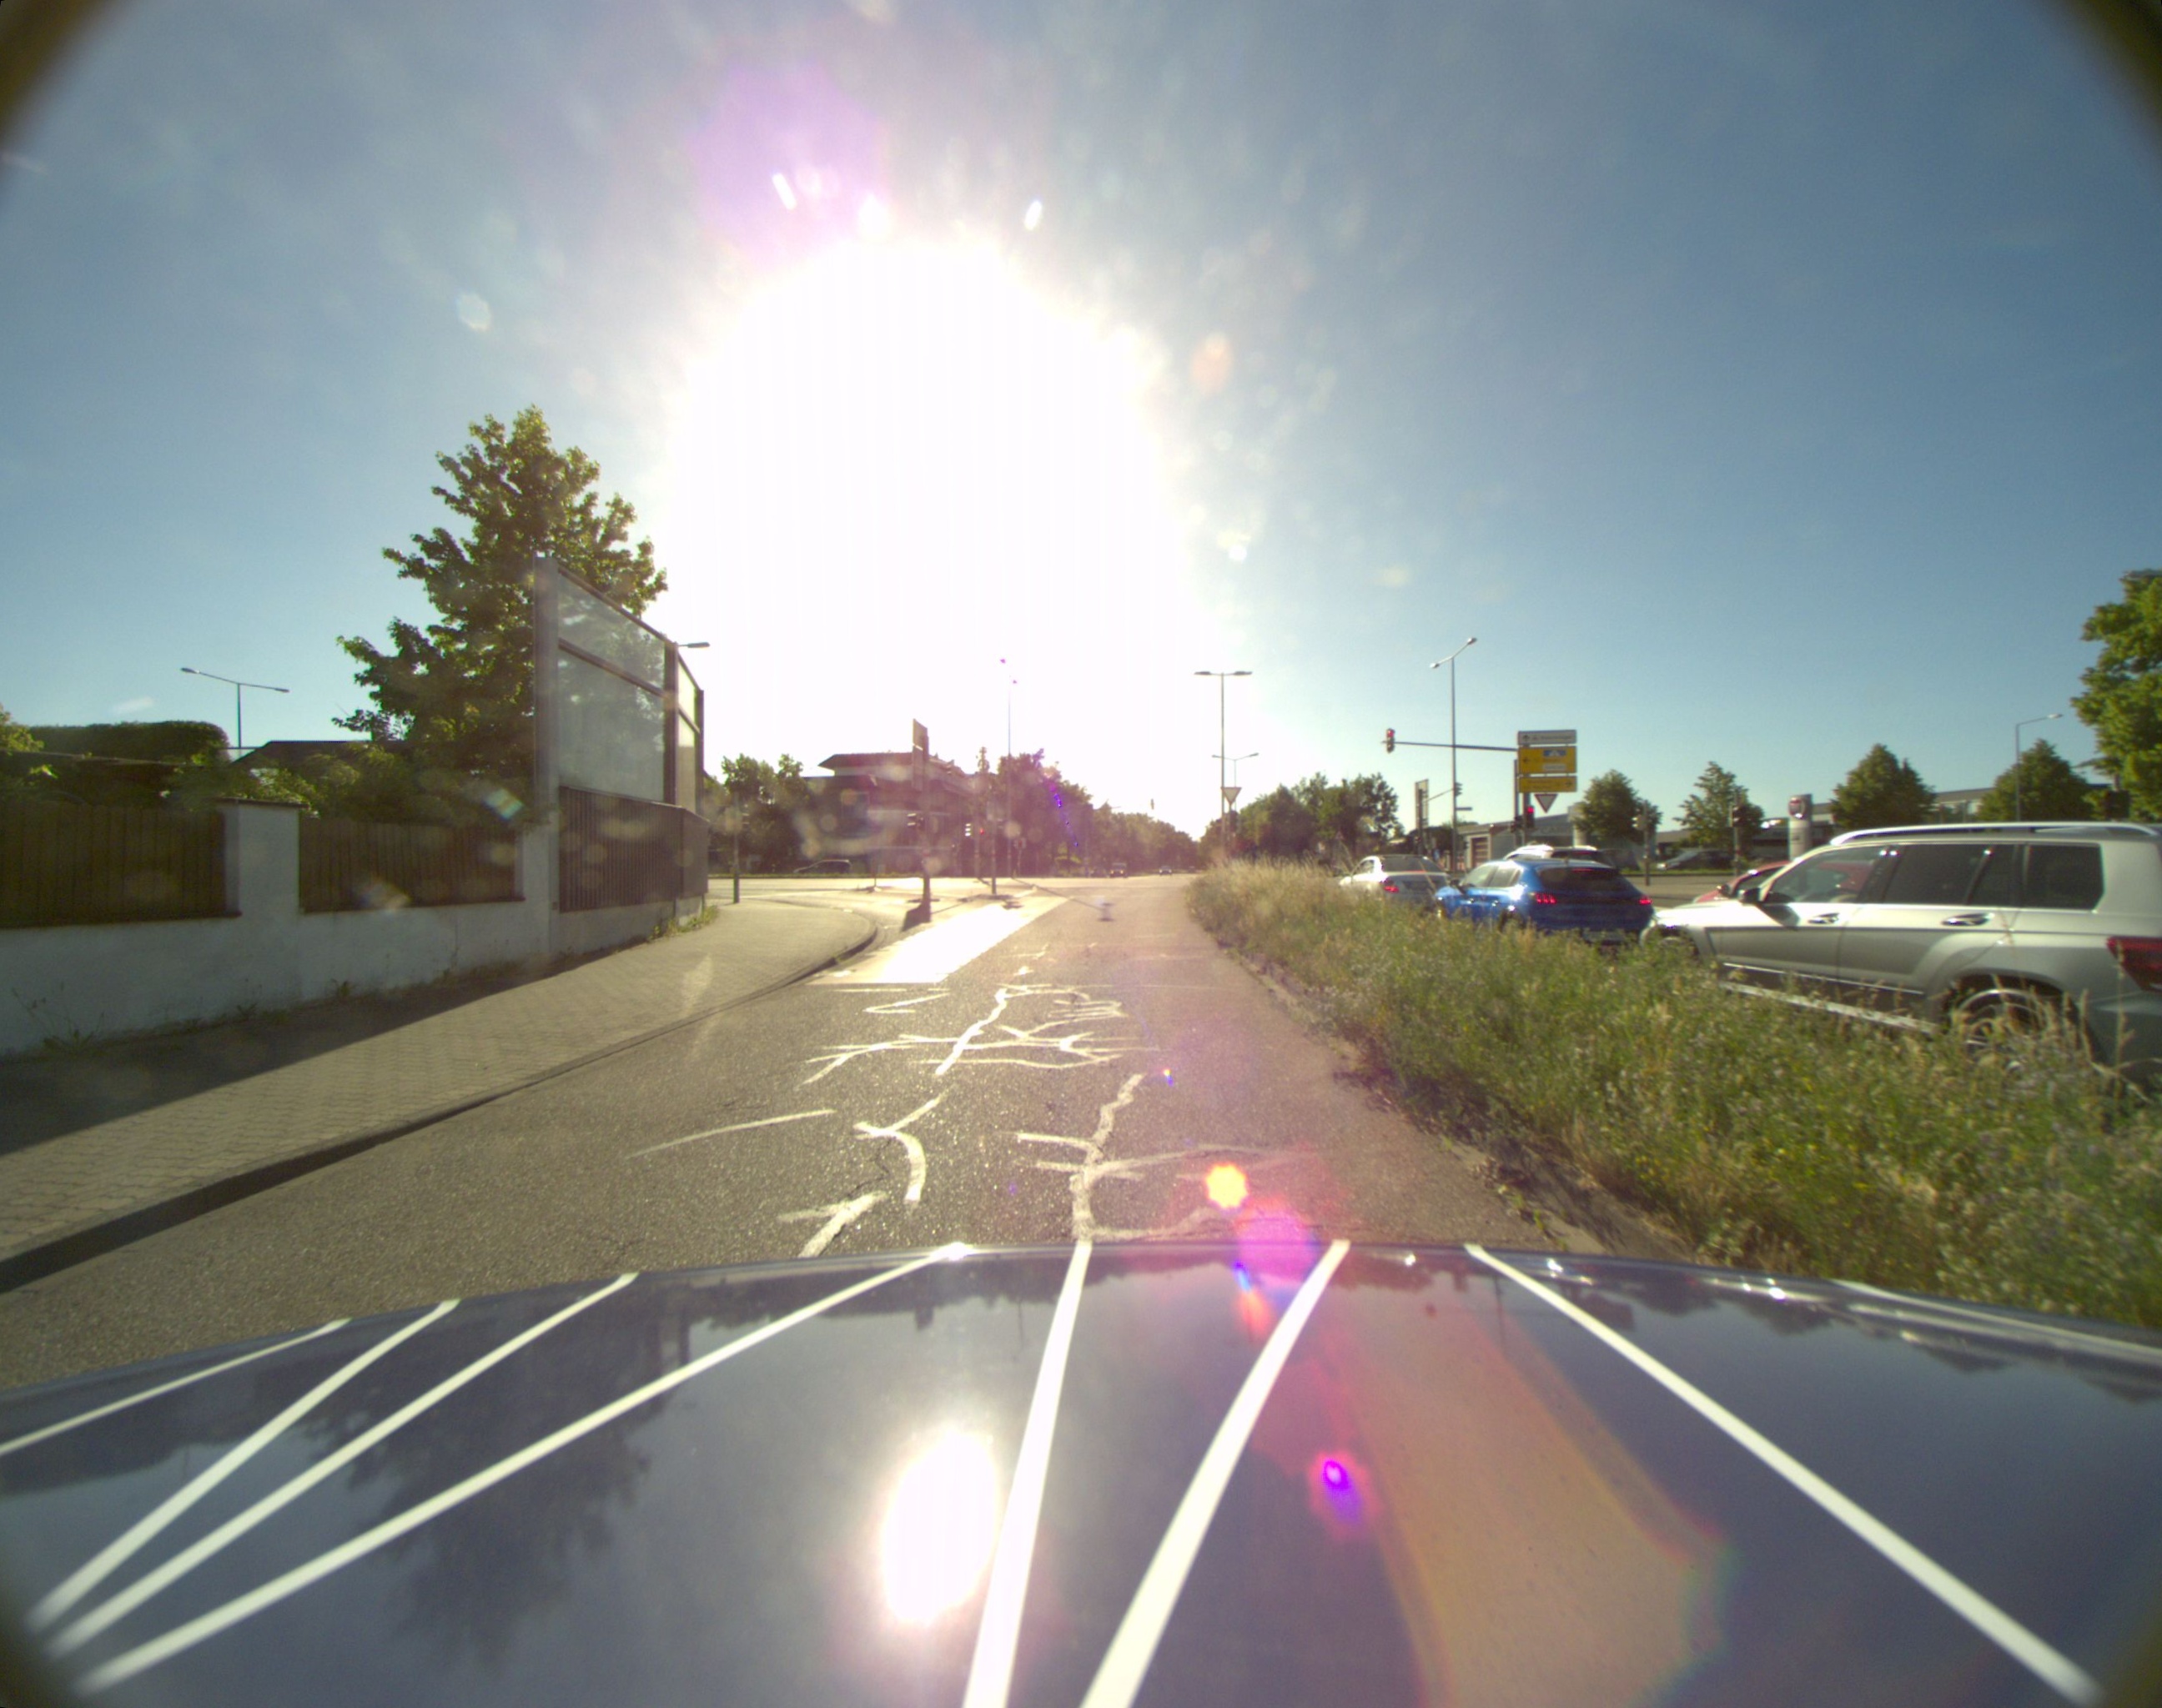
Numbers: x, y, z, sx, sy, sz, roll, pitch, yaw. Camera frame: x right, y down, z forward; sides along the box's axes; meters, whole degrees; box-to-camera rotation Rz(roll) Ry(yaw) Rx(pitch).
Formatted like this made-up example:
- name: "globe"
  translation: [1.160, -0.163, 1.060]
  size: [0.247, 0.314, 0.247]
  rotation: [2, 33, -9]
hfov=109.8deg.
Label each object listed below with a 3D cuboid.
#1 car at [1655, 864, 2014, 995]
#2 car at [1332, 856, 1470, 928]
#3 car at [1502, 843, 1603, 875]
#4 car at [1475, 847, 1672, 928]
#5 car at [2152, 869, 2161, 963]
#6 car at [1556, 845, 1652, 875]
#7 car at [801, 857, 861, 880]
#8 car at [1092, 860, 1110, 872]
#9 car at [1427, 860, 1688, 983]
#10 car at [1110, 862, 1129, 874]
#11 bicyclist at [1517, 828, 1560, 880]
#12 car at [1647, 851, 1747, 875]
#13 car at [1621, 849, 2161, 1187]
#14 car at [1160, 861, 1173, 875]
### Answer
- name: "car"
  translation: [10.234, 0.906, 10.787]
  size: [1.649, 1.474, 3.715]
  rotation: [0, 0, 6]
- name: "car"
  translation: [7.464, 0.807, 18.227]
  size: [1.797, 1.497, 4.532]
  rotation: [0, 0, 6]
- name: "car"
  translation: [30.907, 0.327, 49.902]
  size: [5.271, 2.001, 2.049]
  rotation: [0, -2, 2]
- name: "car"
  translation: [11.133, 0.686, 17.644]
  size: [1.997, 1.634, 4.532]
  rotation: [0, 0, 6]
- name: "car"
  translation: [16.408, 0.957, 9.443]
  size: [1.711, 1.422, 4.007]
  rotation: [1, 1, 23]
- name: "car"
  translation: [29.427, 0.366, 42.830]
  size: [4.036, 1.634, 1.894]
  rotation: [0, -2, 2]
- name: "car"
  translation: [-17.643, 1.023, 53.718]
  size: [3.781, 1.477, 1.776]
  rotation: [-1, -1, -12]
- name: "car"
  translation: [2.490, 1.480, 94.320]
  size: [1.775, 1.477, 4.218]
  rotation: [1, -1, 8]
- name: "car"
  translation: [6.744, 0.843, 11.306]
  size: [1.750, 1.474, 3.889]
  rotation: [0, 0, 6]
- name: "car"
  translation: [4.578, 1.653, 90.294]
  size: [1.775, 1.477, 4.218]
  rotation: [1, -1, 8]
- name: "bicyclist"
  translation: [15.238, 0.004, 25.333]
  size: [0.746, 1.692, 1.242]
  rotation: [0, 1, 5]
- name: "car"
  translation: [34.708, 0.511, 42.891]
  size: [4.036, 1.267, 1.894]
  rotation: [0, -2, 2]
- name: "car"
  translation: [6.298, 0.778, 5.399]
  size: [1.998, 1.606, 4.532]
  rotation: [0, 0, 5]
- name: "car"
  translation: [12.816, 2.082, 114.129]
  size: [1.729, 2.002, 4.001]
  rotation: [0, 0, 4]
